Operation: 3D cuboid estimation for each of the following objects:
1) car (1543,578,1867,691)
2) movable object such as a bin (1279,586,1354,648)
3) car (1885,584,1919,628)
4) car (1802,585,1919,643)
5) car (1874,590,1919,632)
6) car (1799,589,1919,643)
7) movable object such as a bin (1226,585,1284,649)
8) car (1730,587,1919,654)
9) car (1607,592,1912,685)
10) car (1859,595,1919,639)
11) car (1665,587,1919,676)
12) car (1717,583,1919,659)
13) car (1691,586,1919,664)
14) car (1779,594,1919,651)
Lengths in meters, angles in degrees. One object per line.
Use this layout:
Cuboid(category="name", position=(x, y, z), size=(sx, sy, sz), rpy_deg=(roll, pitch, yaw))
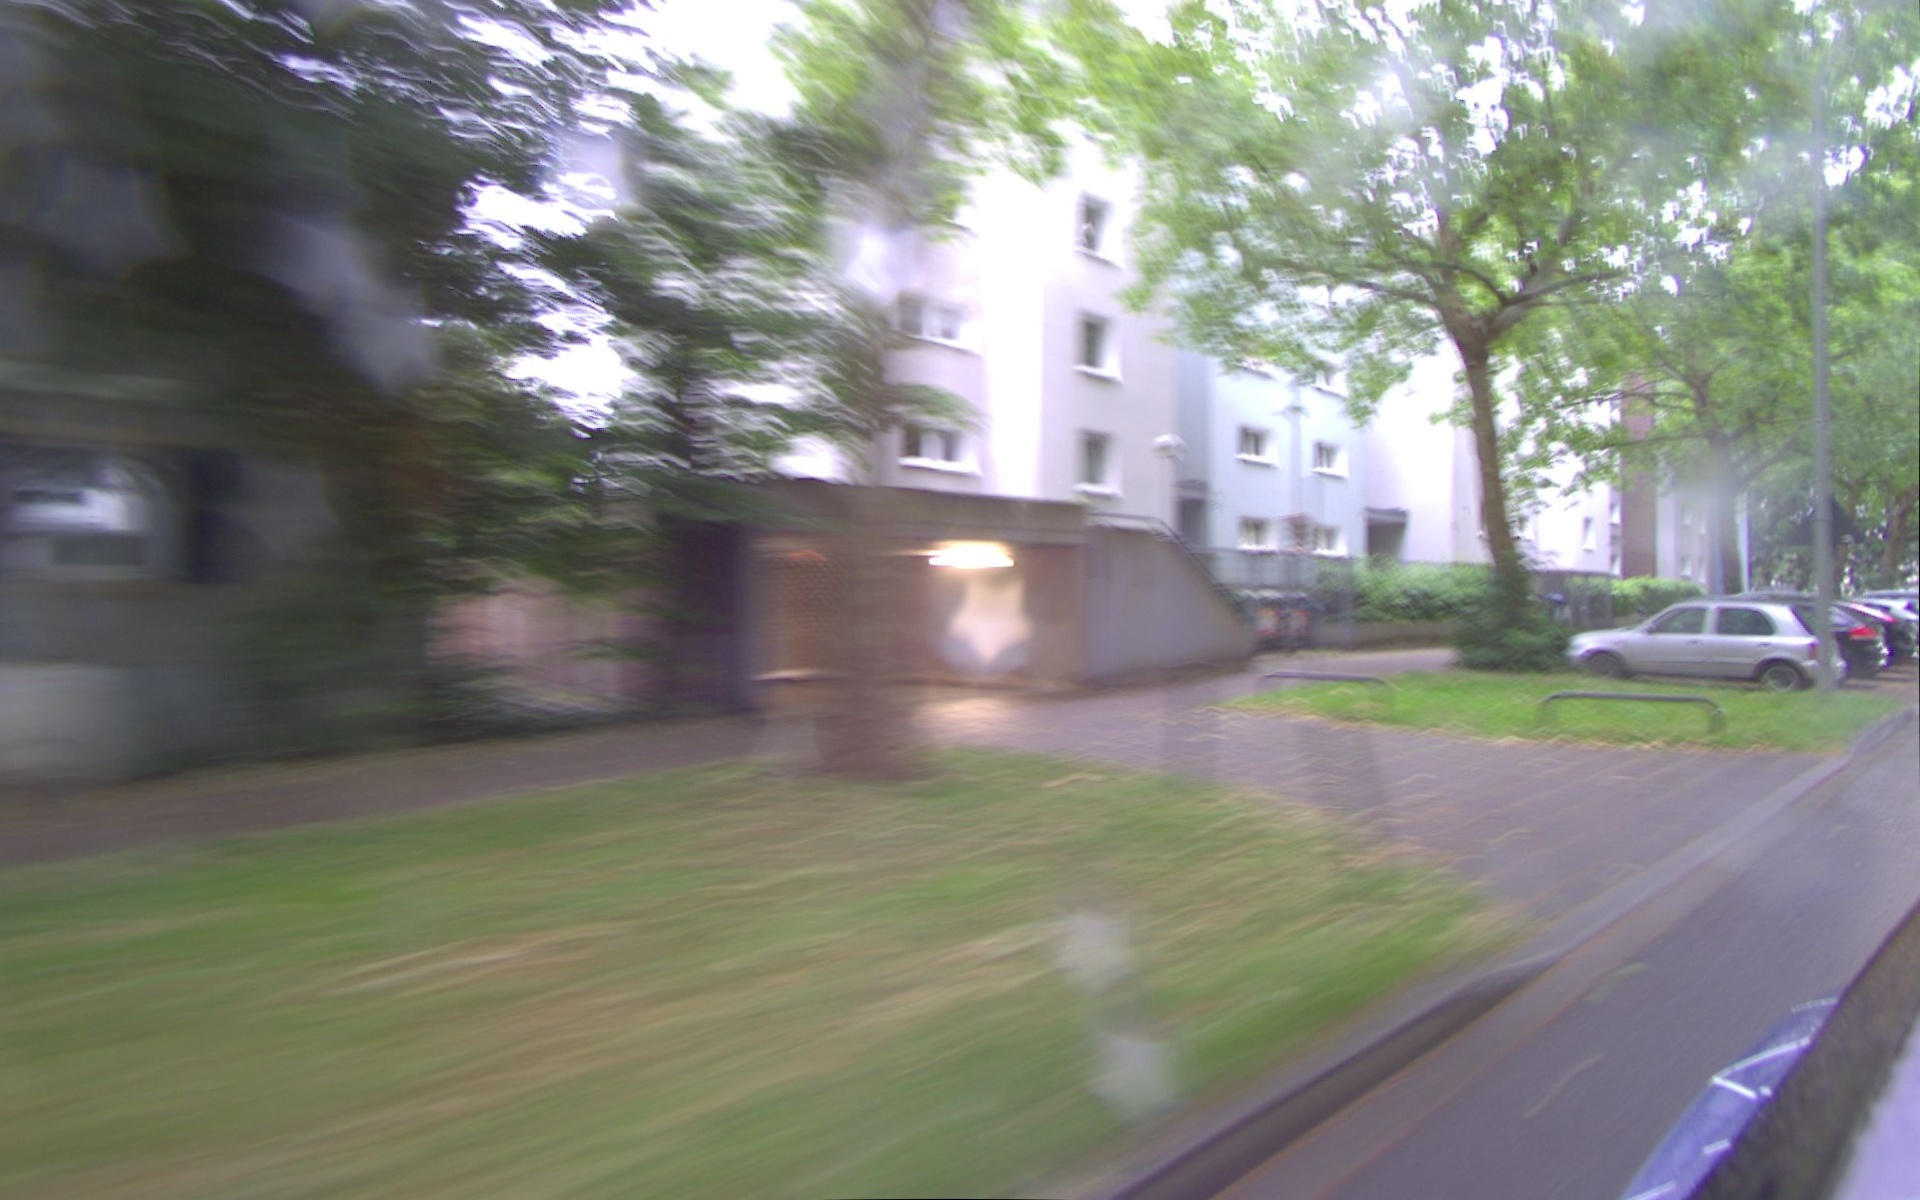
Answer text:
Cuboid(category="car", position=(11.983, 0.494, 16.501), size=(1.649, 1.598, 3.994), rpy_deg=(1, 0, -40))
Cuboid(category="movable object such as a bin", position=(8.595, 0.400, 24.396), size=(1.321, 1.456, 1.206), rpy_deg=(1, -1, -40))
Cuboid(category="car", position=(39.961, 0.290, 40.555), size=(3.823, 1.719, 1.824), rpy_deg=(2, -1, 22))
Cuboid(category="car", position=(29.604, 0.441, 31.955), size=(1.786, 1.784, 4.345), rpy_deg=(1, -2, -40))
Cuboid(category="car", position=(36.468, 0.427, 37.440), size=(1.706, 1.556, 3.714), rpy_deg=(0, 1, -37))
Cuboid(category="car", position=(27.672, 0.482, 30.051), size=(1.602, 1.557, 3.993), rpy_deg=(1, -2, -40))
Cuboid(category="movable object such as a bin", position=(6.972, 0.391, 23.941), size=(1.094, 1.456, 0.865), rpy_deg=(1, -1, -40))
Cuboid(category="car", position=(22.534, 0.515, 25.937), size=(1.717, 1.604, 4.214), rpy_deg=(1, -1, -43))
Cuboid(category="car", position=(13.986, 0.598, 17.888), size=(1.649, 1.456, 3.994), rpy_deg=(0, 0, -40))
Cuboid(category="car", position=(34.492, 0.580, 35.667), size=(1.770, 1.532, 3.991), rpy_deg=(1, -2, -42))
Cuboid(category="car", position=(16.289, 0.550, 19.521), size=(1.831, 1.533, 4.108), rpy_deg=(0, 0, -40))
Cuboid(category="car", position=(20.835, 0.495, 24.094), size=(1.880, 1.677, 4.216), rpy_deg=(1, -1, -41))
Cuboid(category="car", position=(18.427, 0.522, 21.831), size=(1.750, 1.550, 4.045), rpy_deg=(1, -1, -43))
Cuboid(category="car", position=(24.708, 0.592, 27.144), size=(1.657, 1.460, 4.038), rpy_deg=(1, -2, -43))
